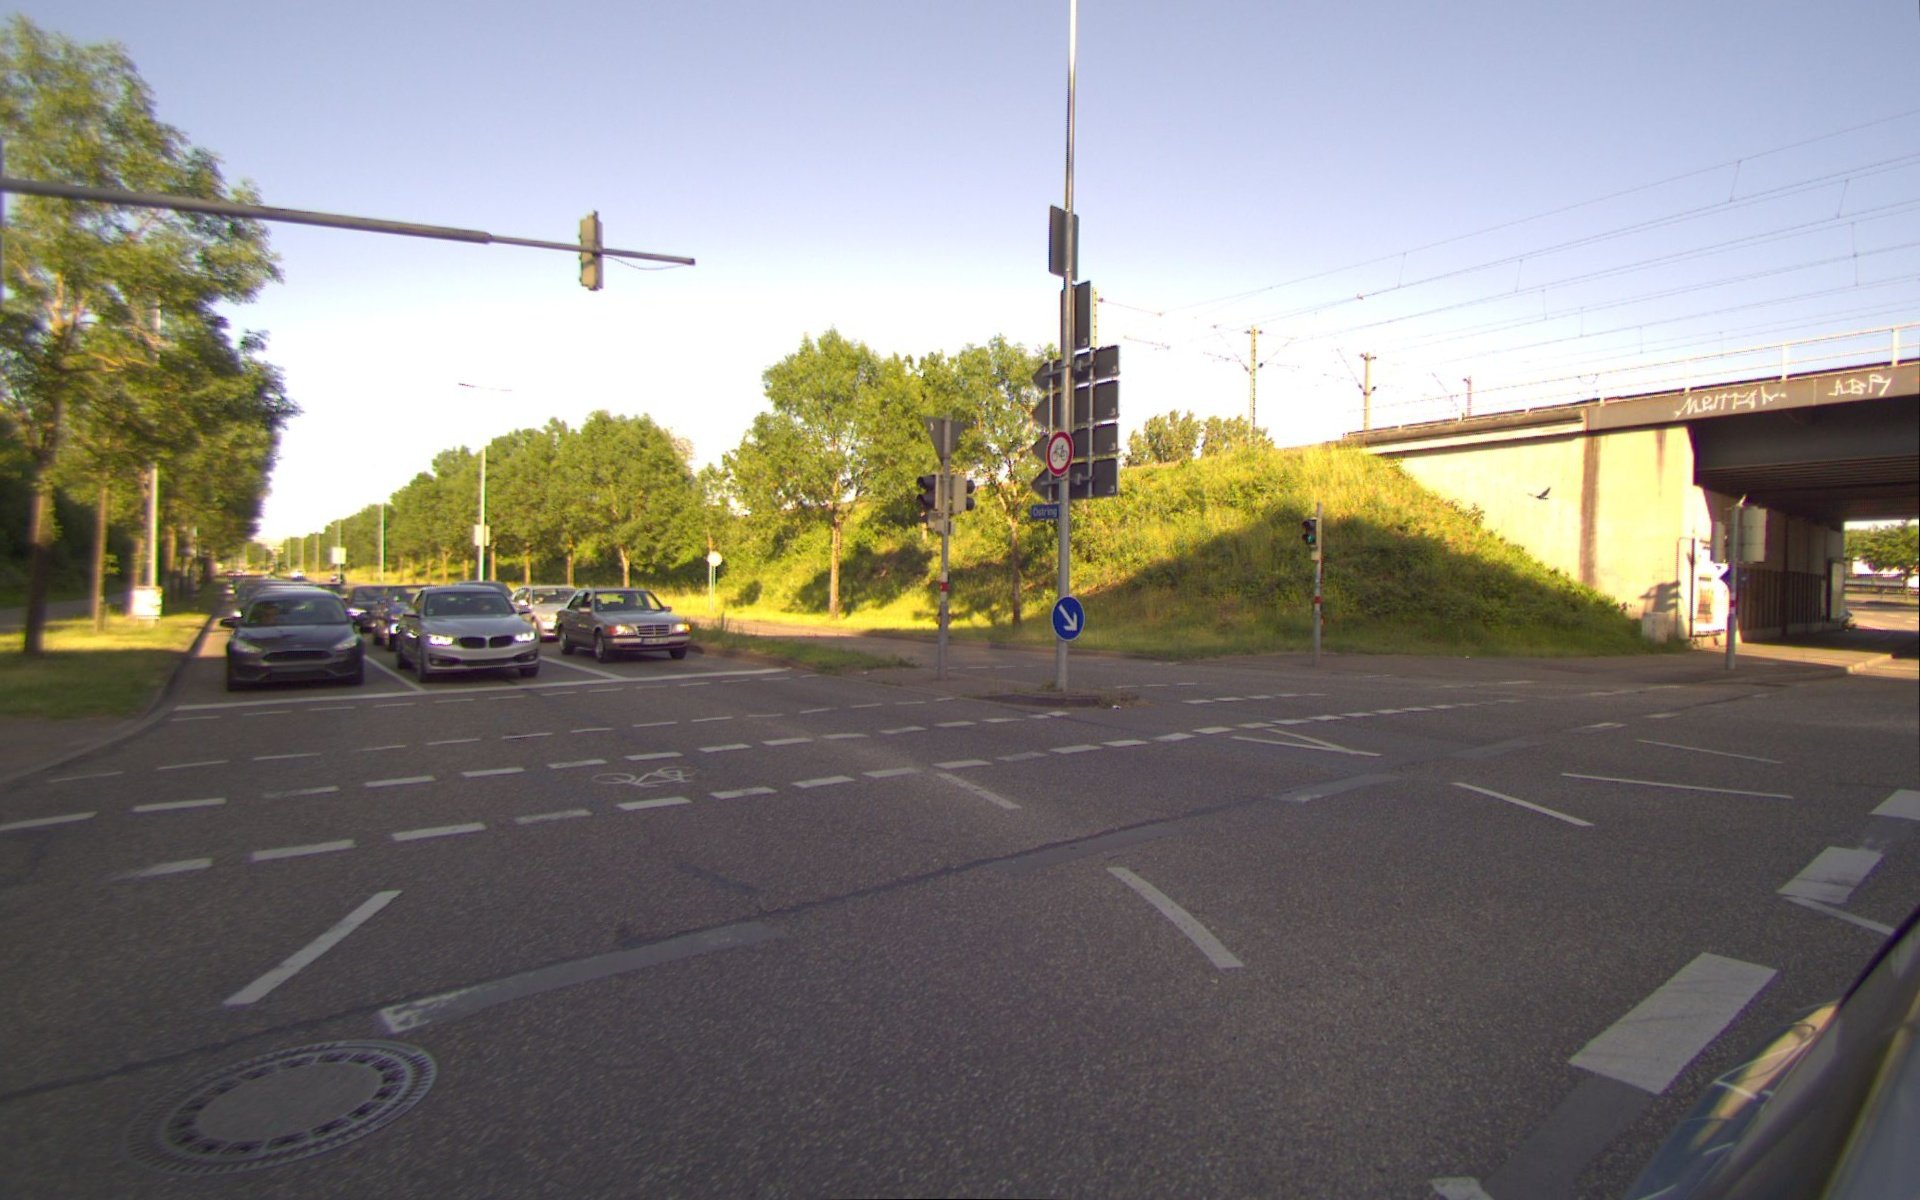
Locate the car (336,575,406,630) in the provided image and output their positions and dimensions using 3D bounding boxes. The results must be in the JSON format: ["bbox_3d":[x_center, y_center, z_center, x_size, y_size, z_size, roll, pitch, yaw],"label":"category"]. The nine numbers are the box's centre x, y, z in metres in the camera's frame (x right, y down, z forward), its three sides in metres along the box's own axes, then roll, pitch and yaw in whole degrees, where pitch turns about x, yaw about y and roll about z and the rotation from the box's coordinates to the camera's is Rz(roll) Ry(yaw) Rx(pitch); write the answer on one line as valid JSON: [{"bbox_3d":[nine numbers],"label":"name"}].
[{"bbox_3d":[-18.349,0.026,31.463,1.590,1.549,3.856,-2,3,-34],"label":"car"}]

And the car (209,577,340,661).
[{"bbox_3d":[-14.510,0.310,21.339,1.812,1.549,3.913,-2,3,-41],"label":"car"}]

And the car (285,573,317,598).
[{"bbox_3d":[-42.998,-0.974,66.008,1.590,1.549,3.856,-2,3,-34],"label":"car"}]

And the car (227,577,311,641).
[{"bbox_3d":[-18.819,0.169,27.587,1.740,1.548,4.142,-2,3,-34],"label":"car"}]

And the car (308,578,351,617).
[{"bbox_3d":[-31.435,-0.139,50.510,1.757,1.888,4.002,0,0,-32],"label":"car"}]

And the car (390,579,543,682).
[{"bbox_3d":[-8.537,0.418,17.333,1.782,1.493,4.001,-1,2,-34],"label":"car"}]

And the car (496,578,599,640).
[{"bbox_3d":[-10.821,0.170,26.430,1.560,1.450,3.999,-1,2,-36],"label":"car"}]

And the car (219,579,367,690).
[{"bbox_3d":[-10.777,0.441,16.284,1.772,1.493,4.000,-1,2,-35],"label":"car"}]

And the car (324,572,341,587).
[{"bbox_3d":[-89.557,-2.945,144.482,1.769,2.039,3.998,0,0,-37],"label":"car"}]

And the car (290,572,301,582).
[{"bbox_3d":[-137.717,-4.722,209.771,1.769,2.039,3.998,0,0,-37],"label":"car"}]

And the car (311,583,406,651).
[{"bbox_3d":[-13.838,0.319,23.195,1.468,1.376,3.999,-1,2,-36],"label":"car"}]

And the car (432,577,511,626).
[{"bbox_3d":[-15.644,-0.007,32.321,1.560,1.450,3.877,-1,2,-36],"label":"car"}]

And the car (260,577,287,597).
[{"bbox_3d":[-64.402,-1.177,94.955,1.818,1.830,3.997,0,0,-38],"label":"car"}]

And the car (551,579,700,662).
[{"bbox_3d":[-6.904,0.330,20.629,1.782,1.450,4.000,-1,2,-35],"label":"car"}]
